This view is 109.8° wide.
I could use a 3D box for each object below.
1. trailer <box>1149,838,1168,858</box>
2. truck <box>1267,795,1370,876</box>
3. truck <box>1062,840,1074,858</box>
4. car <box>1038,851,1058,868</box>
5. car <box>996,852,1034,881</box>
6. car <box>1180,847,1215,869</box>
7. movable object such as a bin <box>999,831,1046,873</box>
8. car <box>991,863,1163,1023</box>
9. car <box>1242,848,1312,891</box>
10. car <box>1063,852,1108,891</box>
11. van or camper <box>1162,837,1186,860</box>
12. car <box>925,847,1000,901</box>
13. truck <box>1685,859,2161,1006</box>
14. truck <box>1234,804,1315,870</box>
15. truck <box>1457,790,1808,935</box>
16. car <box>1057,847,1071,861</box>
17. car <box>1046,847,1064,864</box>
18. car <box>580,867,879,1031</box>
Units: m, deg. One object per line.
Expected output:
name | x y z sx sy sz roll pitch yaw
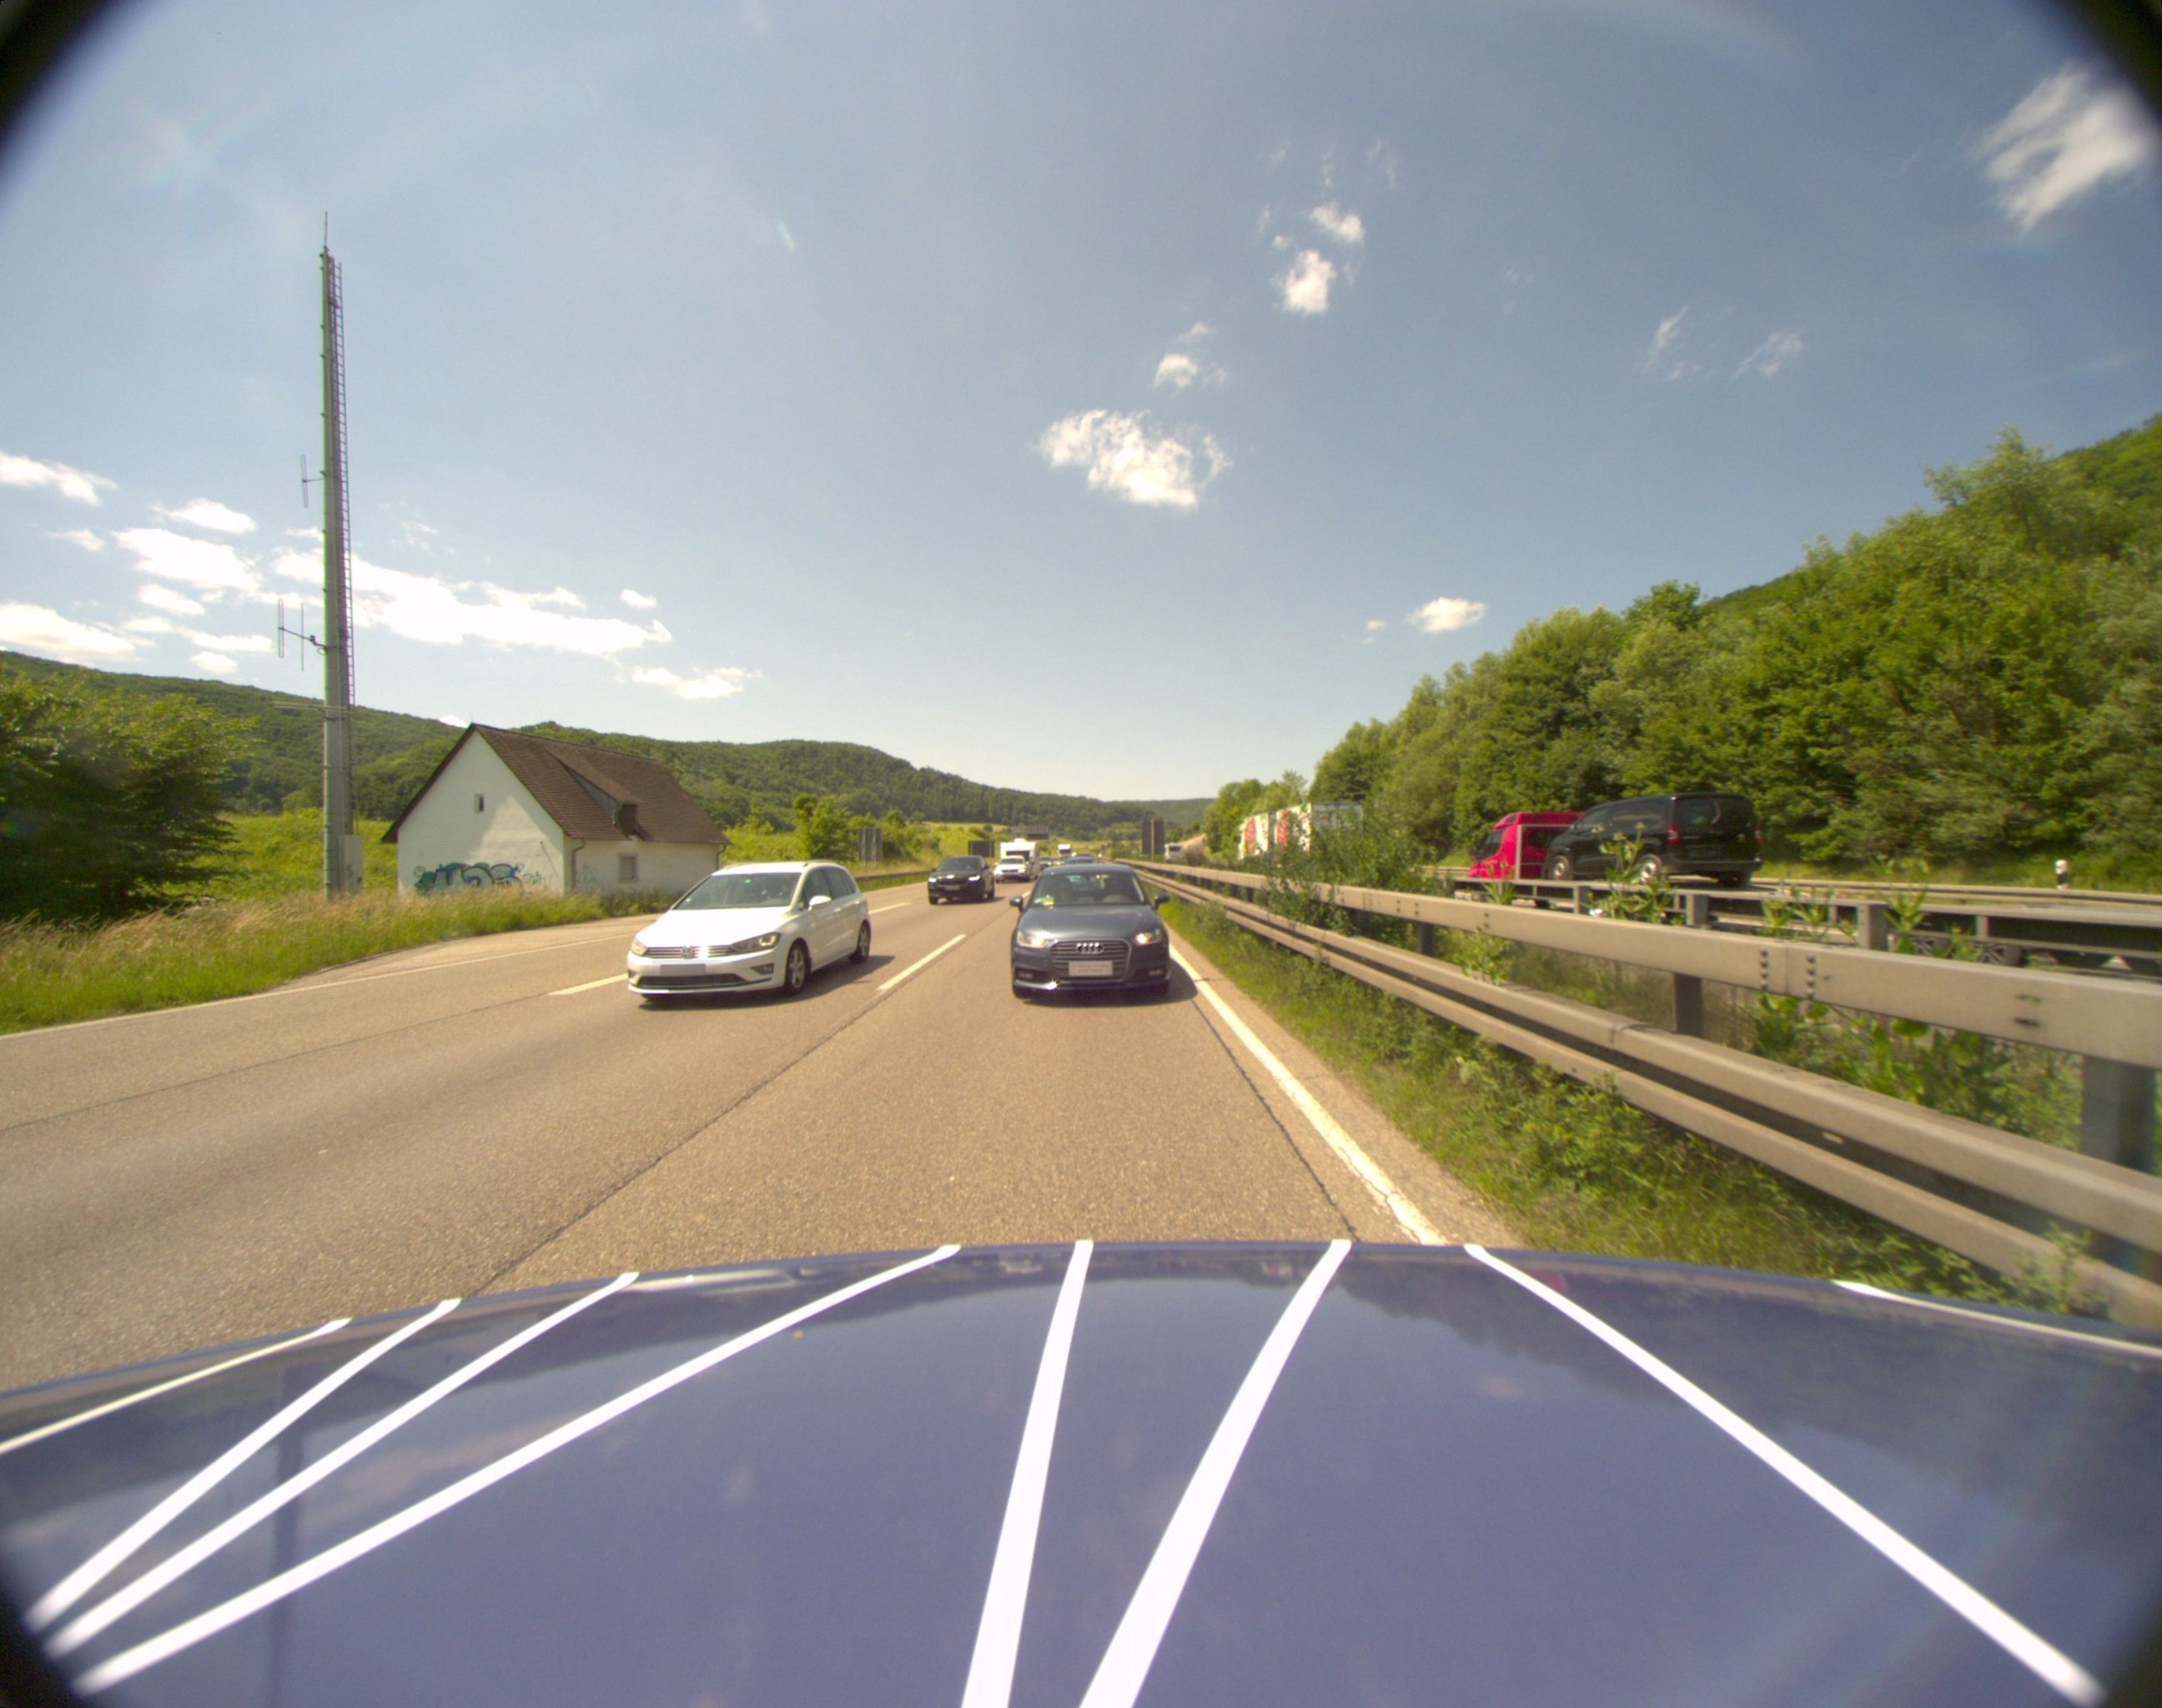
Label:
trailer | 16.256 -1.231 160.436 2.789 3.976 14.159 -1 0 1
truck | 12.760 -0.963 41.801 2.876 3.957 9.030 0 1 0
truck | -2.776 -0.992 162.063 2.336 3.623 7.005 -2 0 1
car | -3.110 0.536 72.097 1.711 1.542 4.000 -1 0 1
car | -3.921 0.706 45.849 1.821 1.574 4.000 -2 0 1
car | 9.211 0.275 60.483 1.998 1.631 5.031 -2 0 1
movable object such as a bin | -3.953 -0.153 52.693 2.481 2.616 6.709 -2 0 1
car | 0.094 0.875 9.193 1.591 1.402 4.001 -2 0 4
car | 7.848 0.573 30.749 1.781 1.589 3.999 -1 0 0
car | 0.249 0.716 34.044 1.835 1.587 4.000 -1 1 2
van or camper | 13.766 -0.782 112.798 2.596 3.316 7.647 -1 0 0
car | -4.103 0.656 26.986 1.893 1.761 4.172 -1 0 2
truck | 11.767 0.794 9.909 2.215 1.326 7.009 -2 0 0
truck | 12.833 -1.065 51.409 2.876 3.983 10.170 -2 0 0
truck | 11.784 0.126 17.508 2.302 2.573 7.967 0 0 0
car | -2.489 -0.073 113.944 1.998 2.002 3.999 -1 1 0
car | -3.148 0.162 92.419 1.998 2.002 3.999 -1 1 0
car | -4.118 1.006 9.758 1.777 1.532 4.054 -2 0 2
